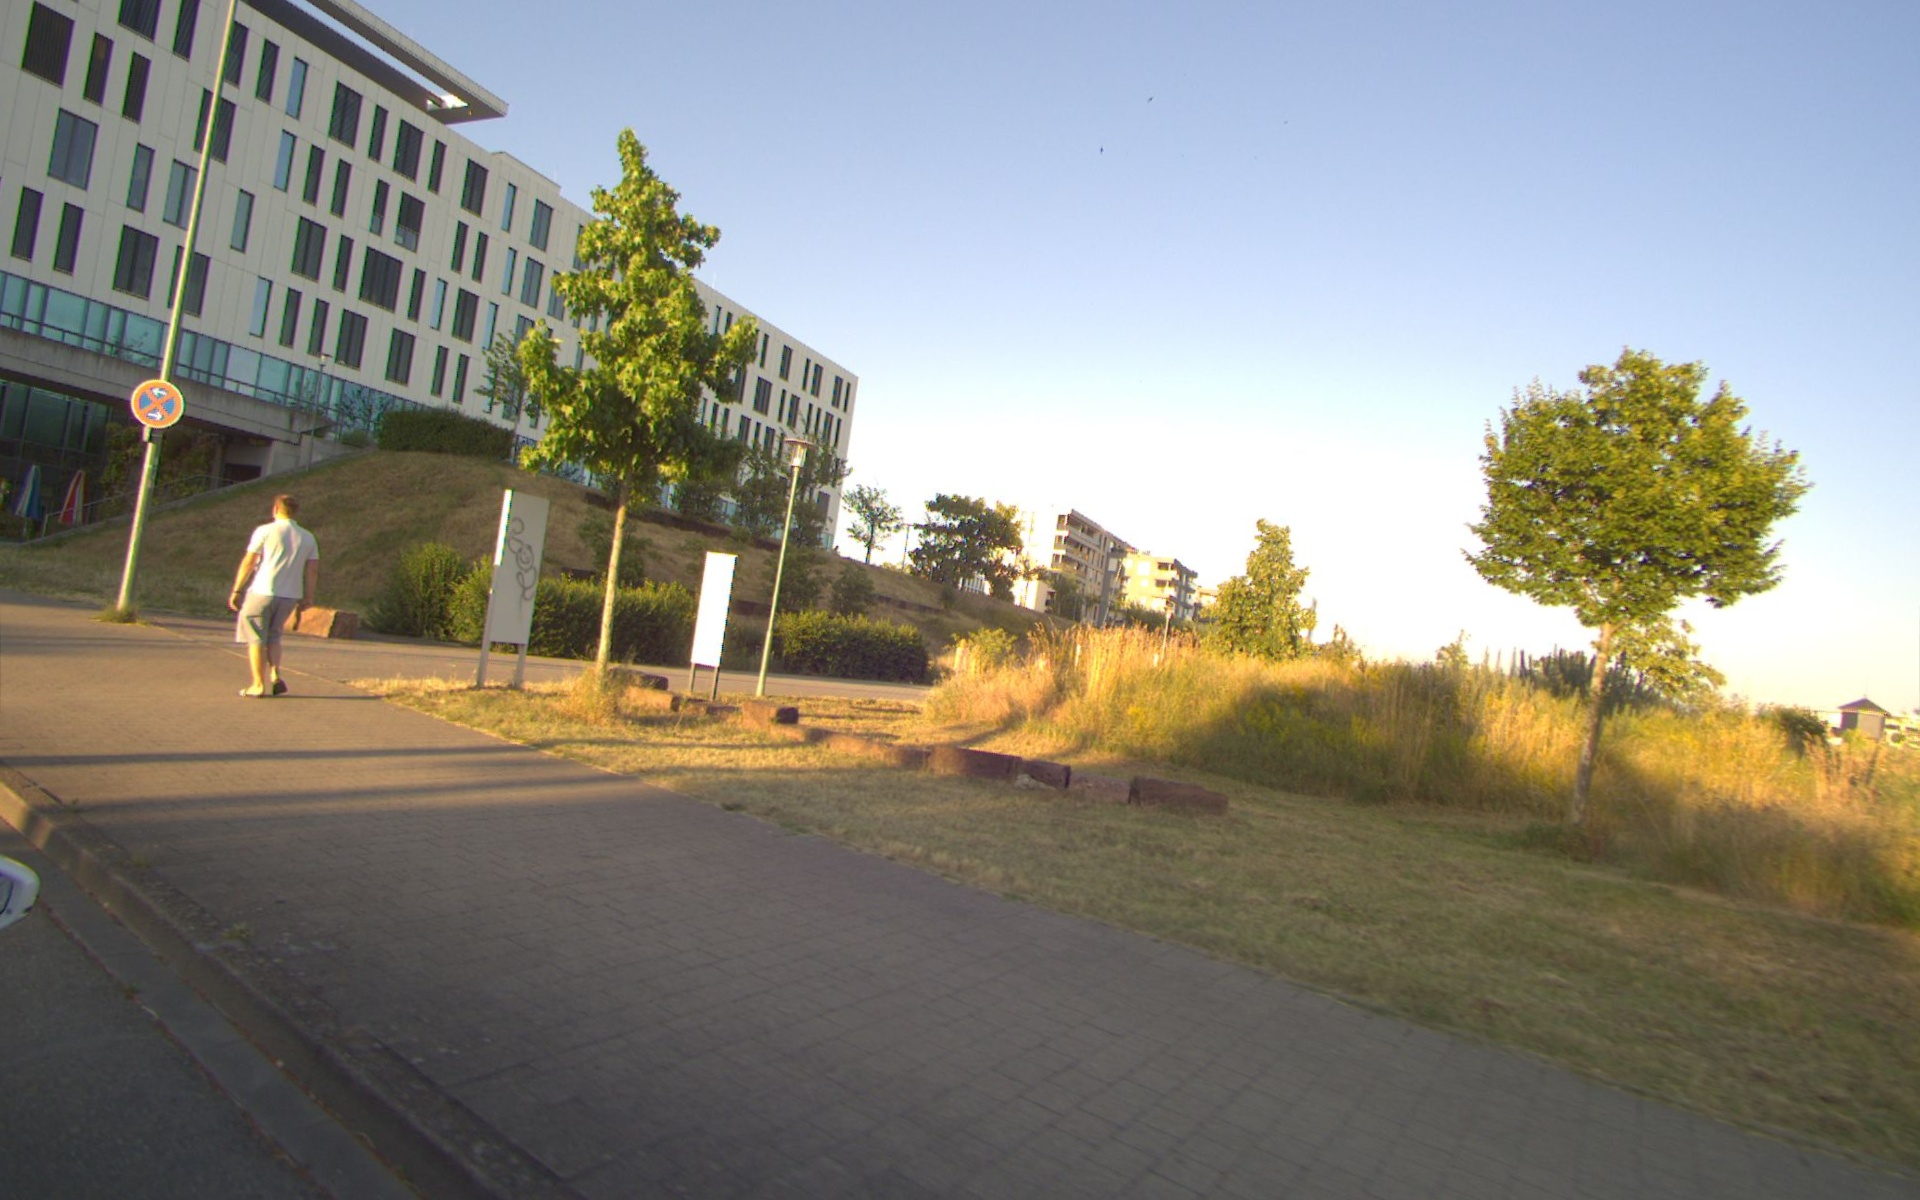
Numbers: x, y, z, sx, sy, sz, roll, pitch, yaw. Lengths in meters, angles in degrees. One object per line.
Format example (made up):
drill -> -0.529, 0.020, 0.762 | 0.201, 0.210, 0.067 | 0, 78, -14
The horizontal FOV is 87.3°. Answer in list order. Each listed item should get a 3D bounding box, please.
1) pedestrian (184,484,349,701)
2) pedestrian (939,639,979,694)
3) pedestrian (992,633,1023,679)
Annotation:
pedestrian -> -6.102, -0.058, 8.866 | 0.805, 1.788, 0.832 | 6, 0, 34
pedestrian -> -0.017, 1.950, 29.593 | 0.752, 1.476, 0.710 | 8, -2, 23
pedestrian -> 1.787, 2.117, 37.858 | 0.752, 1.576, 0.710 | 8, -2, 23
